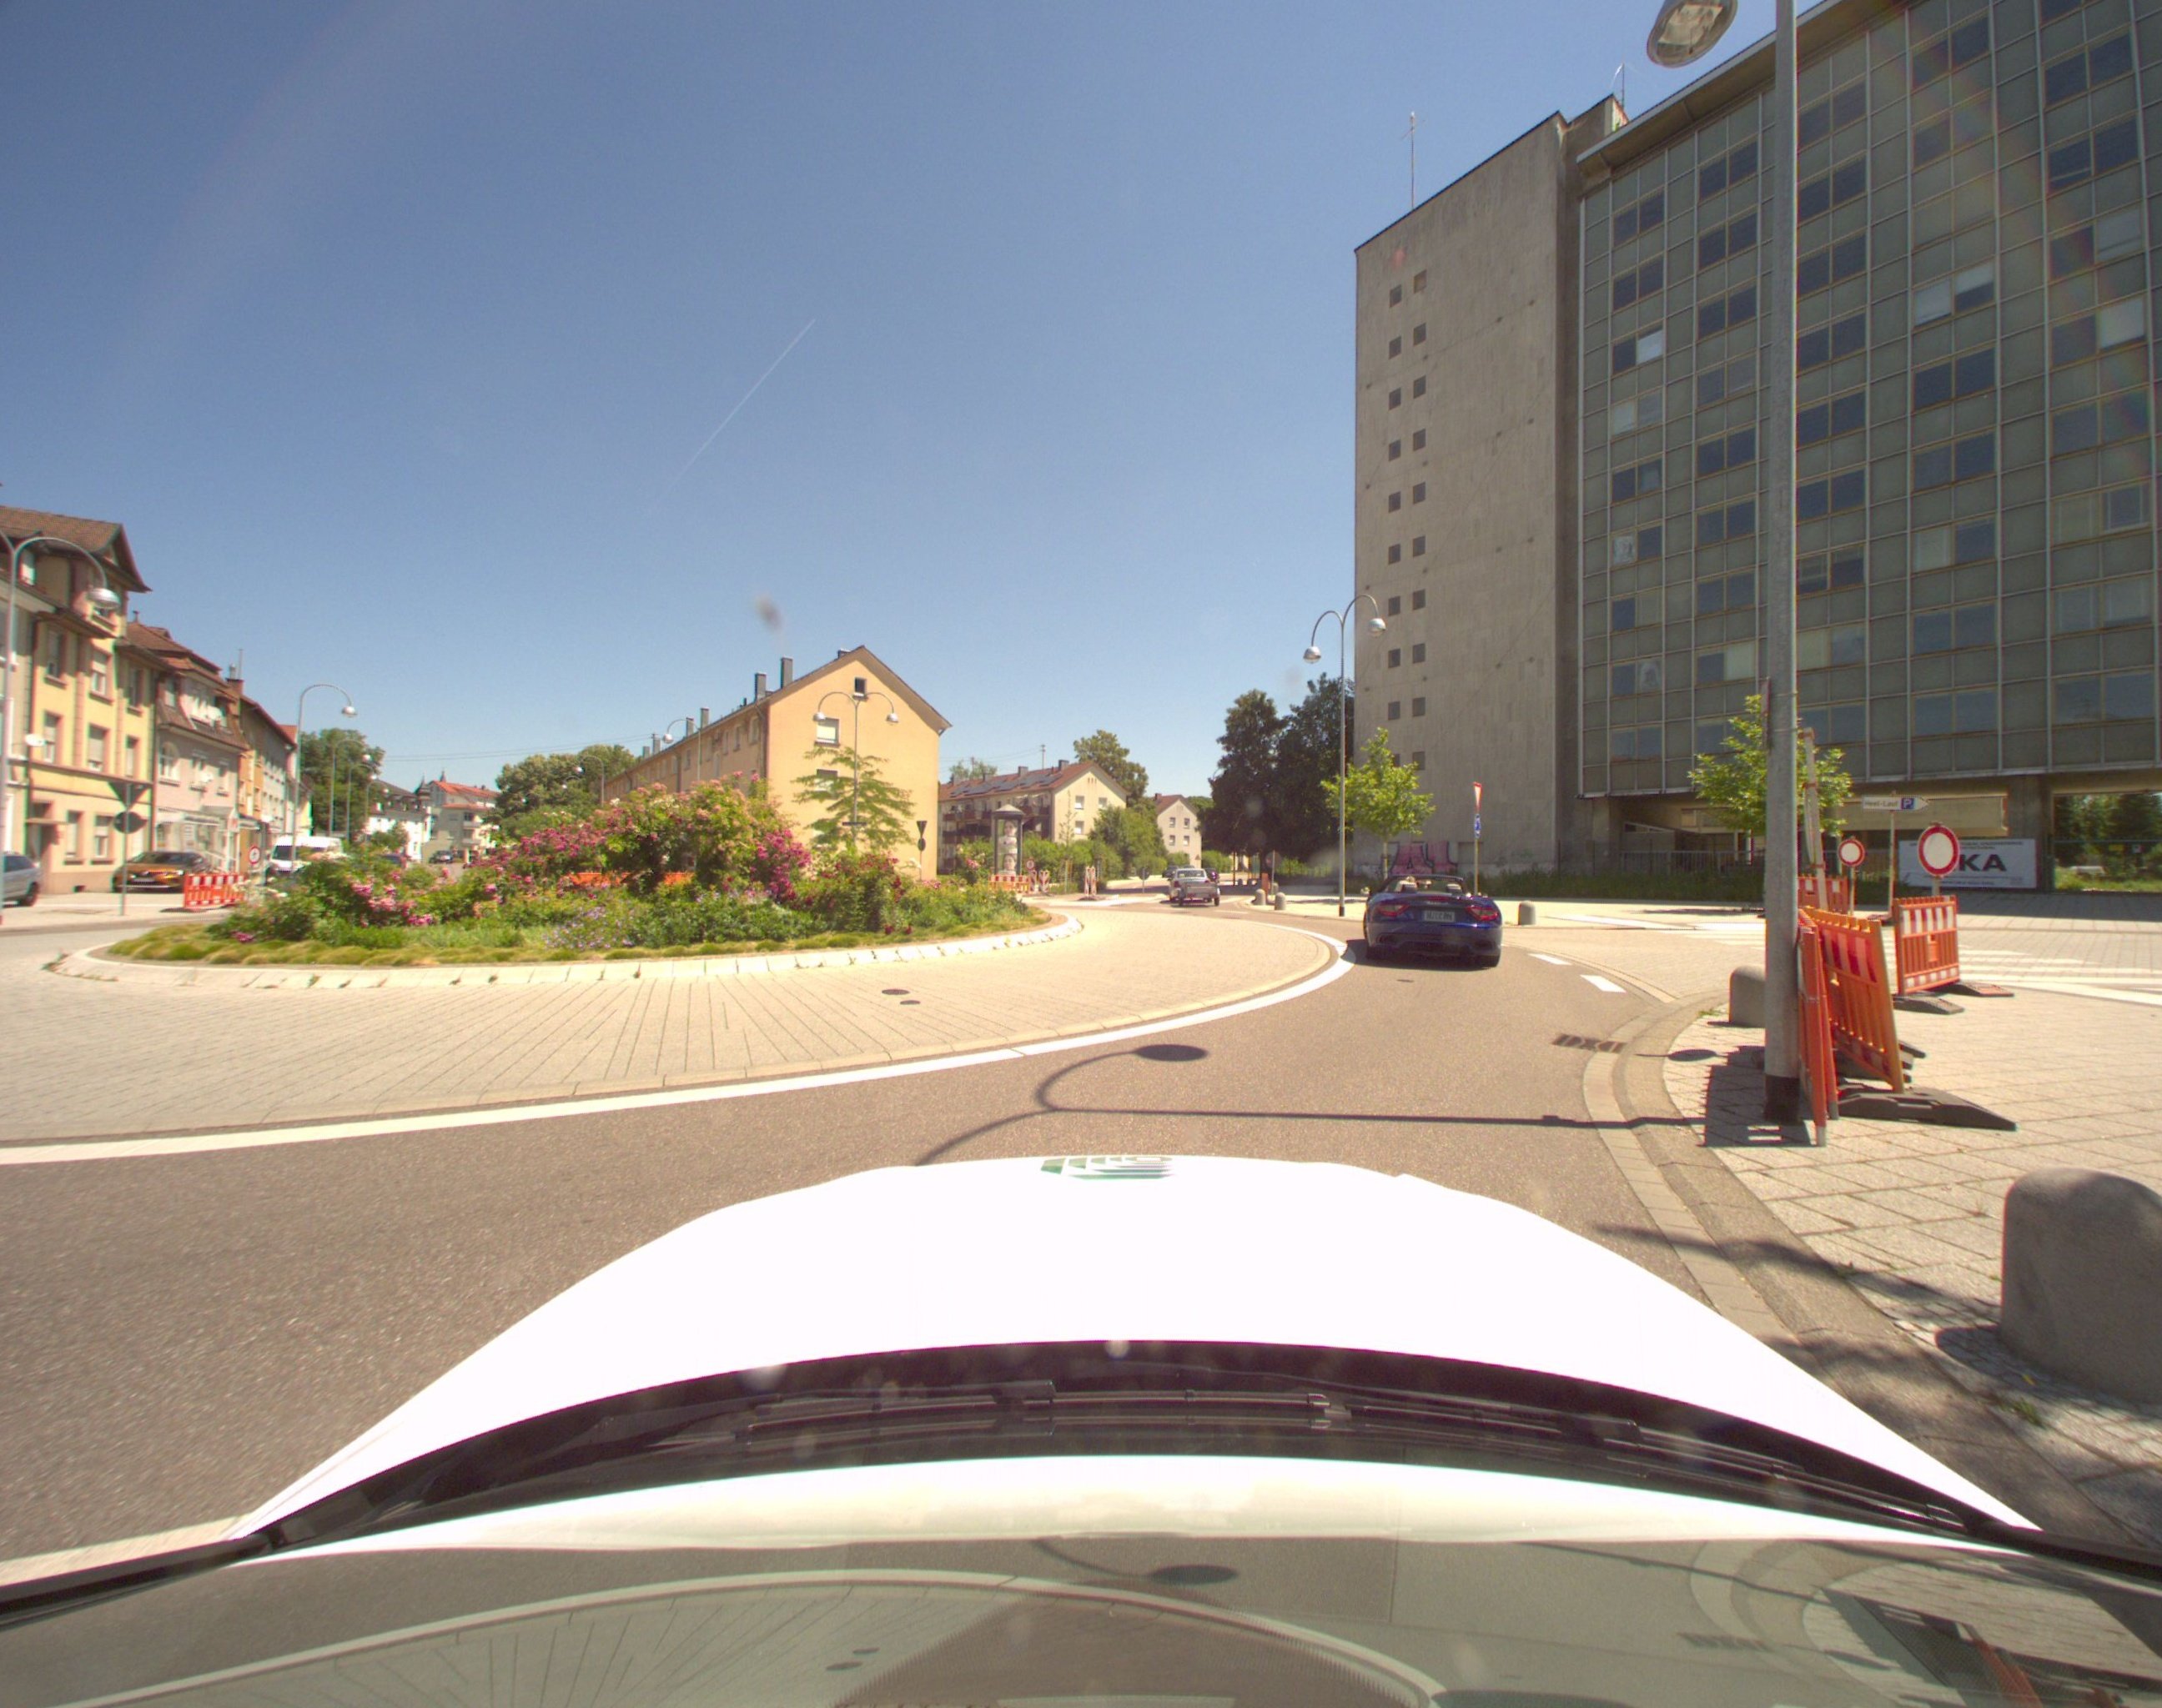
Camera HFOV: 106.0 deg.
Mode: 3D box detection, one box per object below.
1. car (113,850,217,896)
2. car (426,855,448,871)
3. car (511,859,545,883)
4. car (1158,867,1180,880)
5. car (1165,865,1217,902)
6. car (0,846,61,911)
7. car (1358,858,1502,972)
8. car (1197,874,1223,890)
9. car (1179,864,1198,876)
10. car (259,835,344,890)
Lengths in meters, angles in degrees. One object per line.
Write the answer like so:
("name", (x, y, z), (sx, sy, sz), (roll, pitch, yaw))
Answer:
("car", (-35.235, 0.724, 31.442), (1.610, 1.617, 4.048), (4, -3, -34))
("car", (-74.941, 1.014, 94.726), (1.827, 1.794, 3.953), (4, -3, -39))
("car", (-43.535, 1.298, 64.092), (1.827, 1.794, 3.953), (4, -3, -39))
("car", (10.354, 2.238, 95.290), (1.724, 1.436, 3.729), (-1, -1, 20))
("car", (4.505, 1.185, 33.783), (1.732, 1.436, 3.711), (-1, -1, 1))
("car", (-29.101, 0.621, 21.217), (1.788, 1.686, 4.644), (1, -1, -34))
("car", (5.850, 0.909, 13.462), (1.853, 1.530, 4.532), (0, -2, 26))
("car", (12.194, 2.616, 76.741), (1.724, 1.436, 3.728), (-1, -1, 19))
("car", (14.202, 2.073, 107.179), (1.724, 1.436, 3.729), (-1, -1, 20))
("car", (-39.171, 0.430, 41.084), (2.161, 2.533, 6.168), (4, -2, -36))
